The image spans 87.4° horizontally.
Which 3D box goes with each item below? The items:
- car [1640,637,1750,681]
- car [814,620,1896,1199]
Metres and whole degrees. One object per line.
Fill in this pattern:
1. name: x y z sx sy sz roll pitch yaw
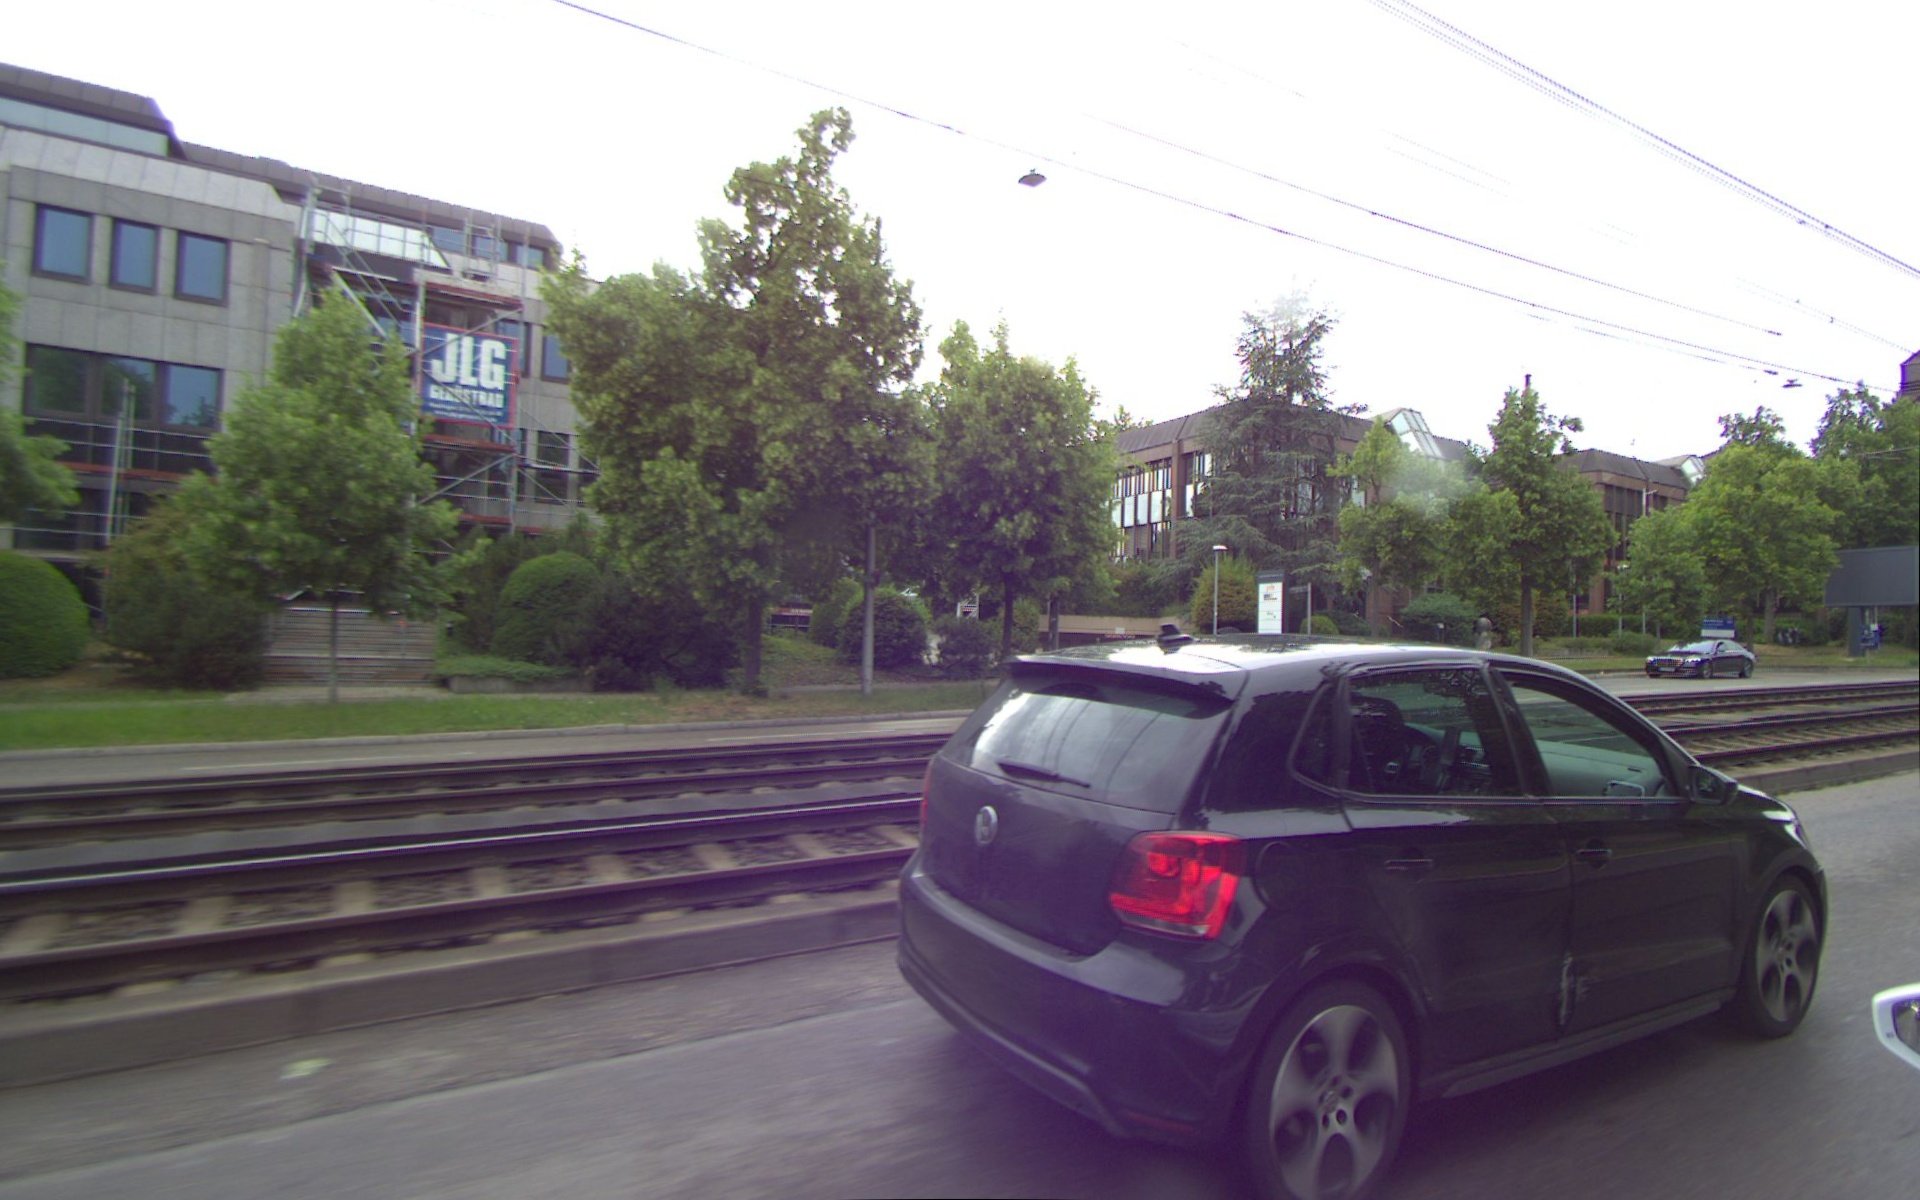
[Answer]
1. car: 27.835 2.190 38.011 4.570 1.550 1.785 1 -2 -32
2. car: 1.611 0.852 3.772 3.920 1.505 1.785 1 -2 -32
